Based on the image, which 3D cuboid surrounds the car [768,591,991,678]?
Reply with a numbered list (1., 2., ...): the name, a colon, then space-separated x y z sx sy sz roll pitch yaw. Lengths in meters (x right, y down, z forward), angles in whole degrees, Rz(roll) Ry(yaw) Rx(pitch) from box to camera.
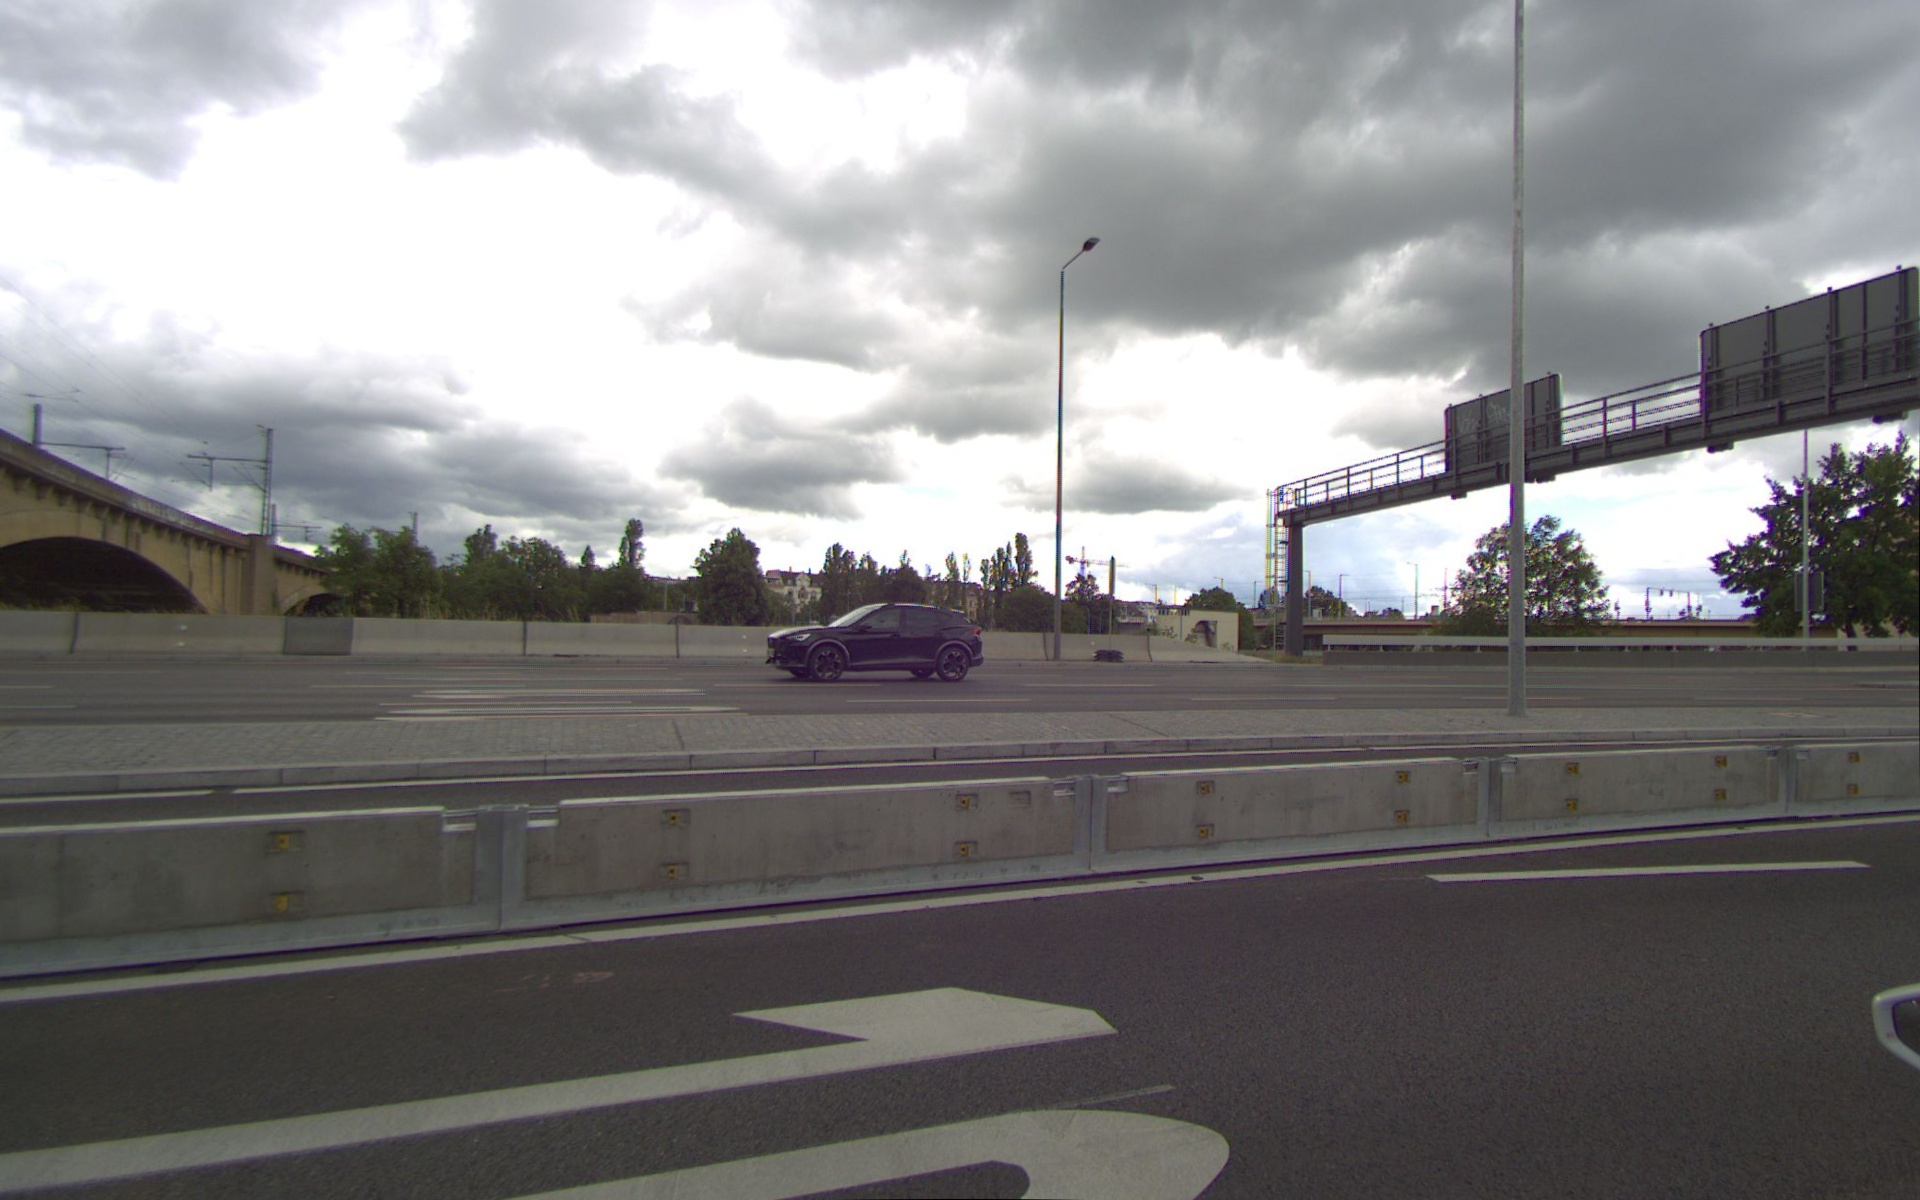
1. car: -1.625 0.737 20.192 4.076 1.605 1.990 2 -3 -22
